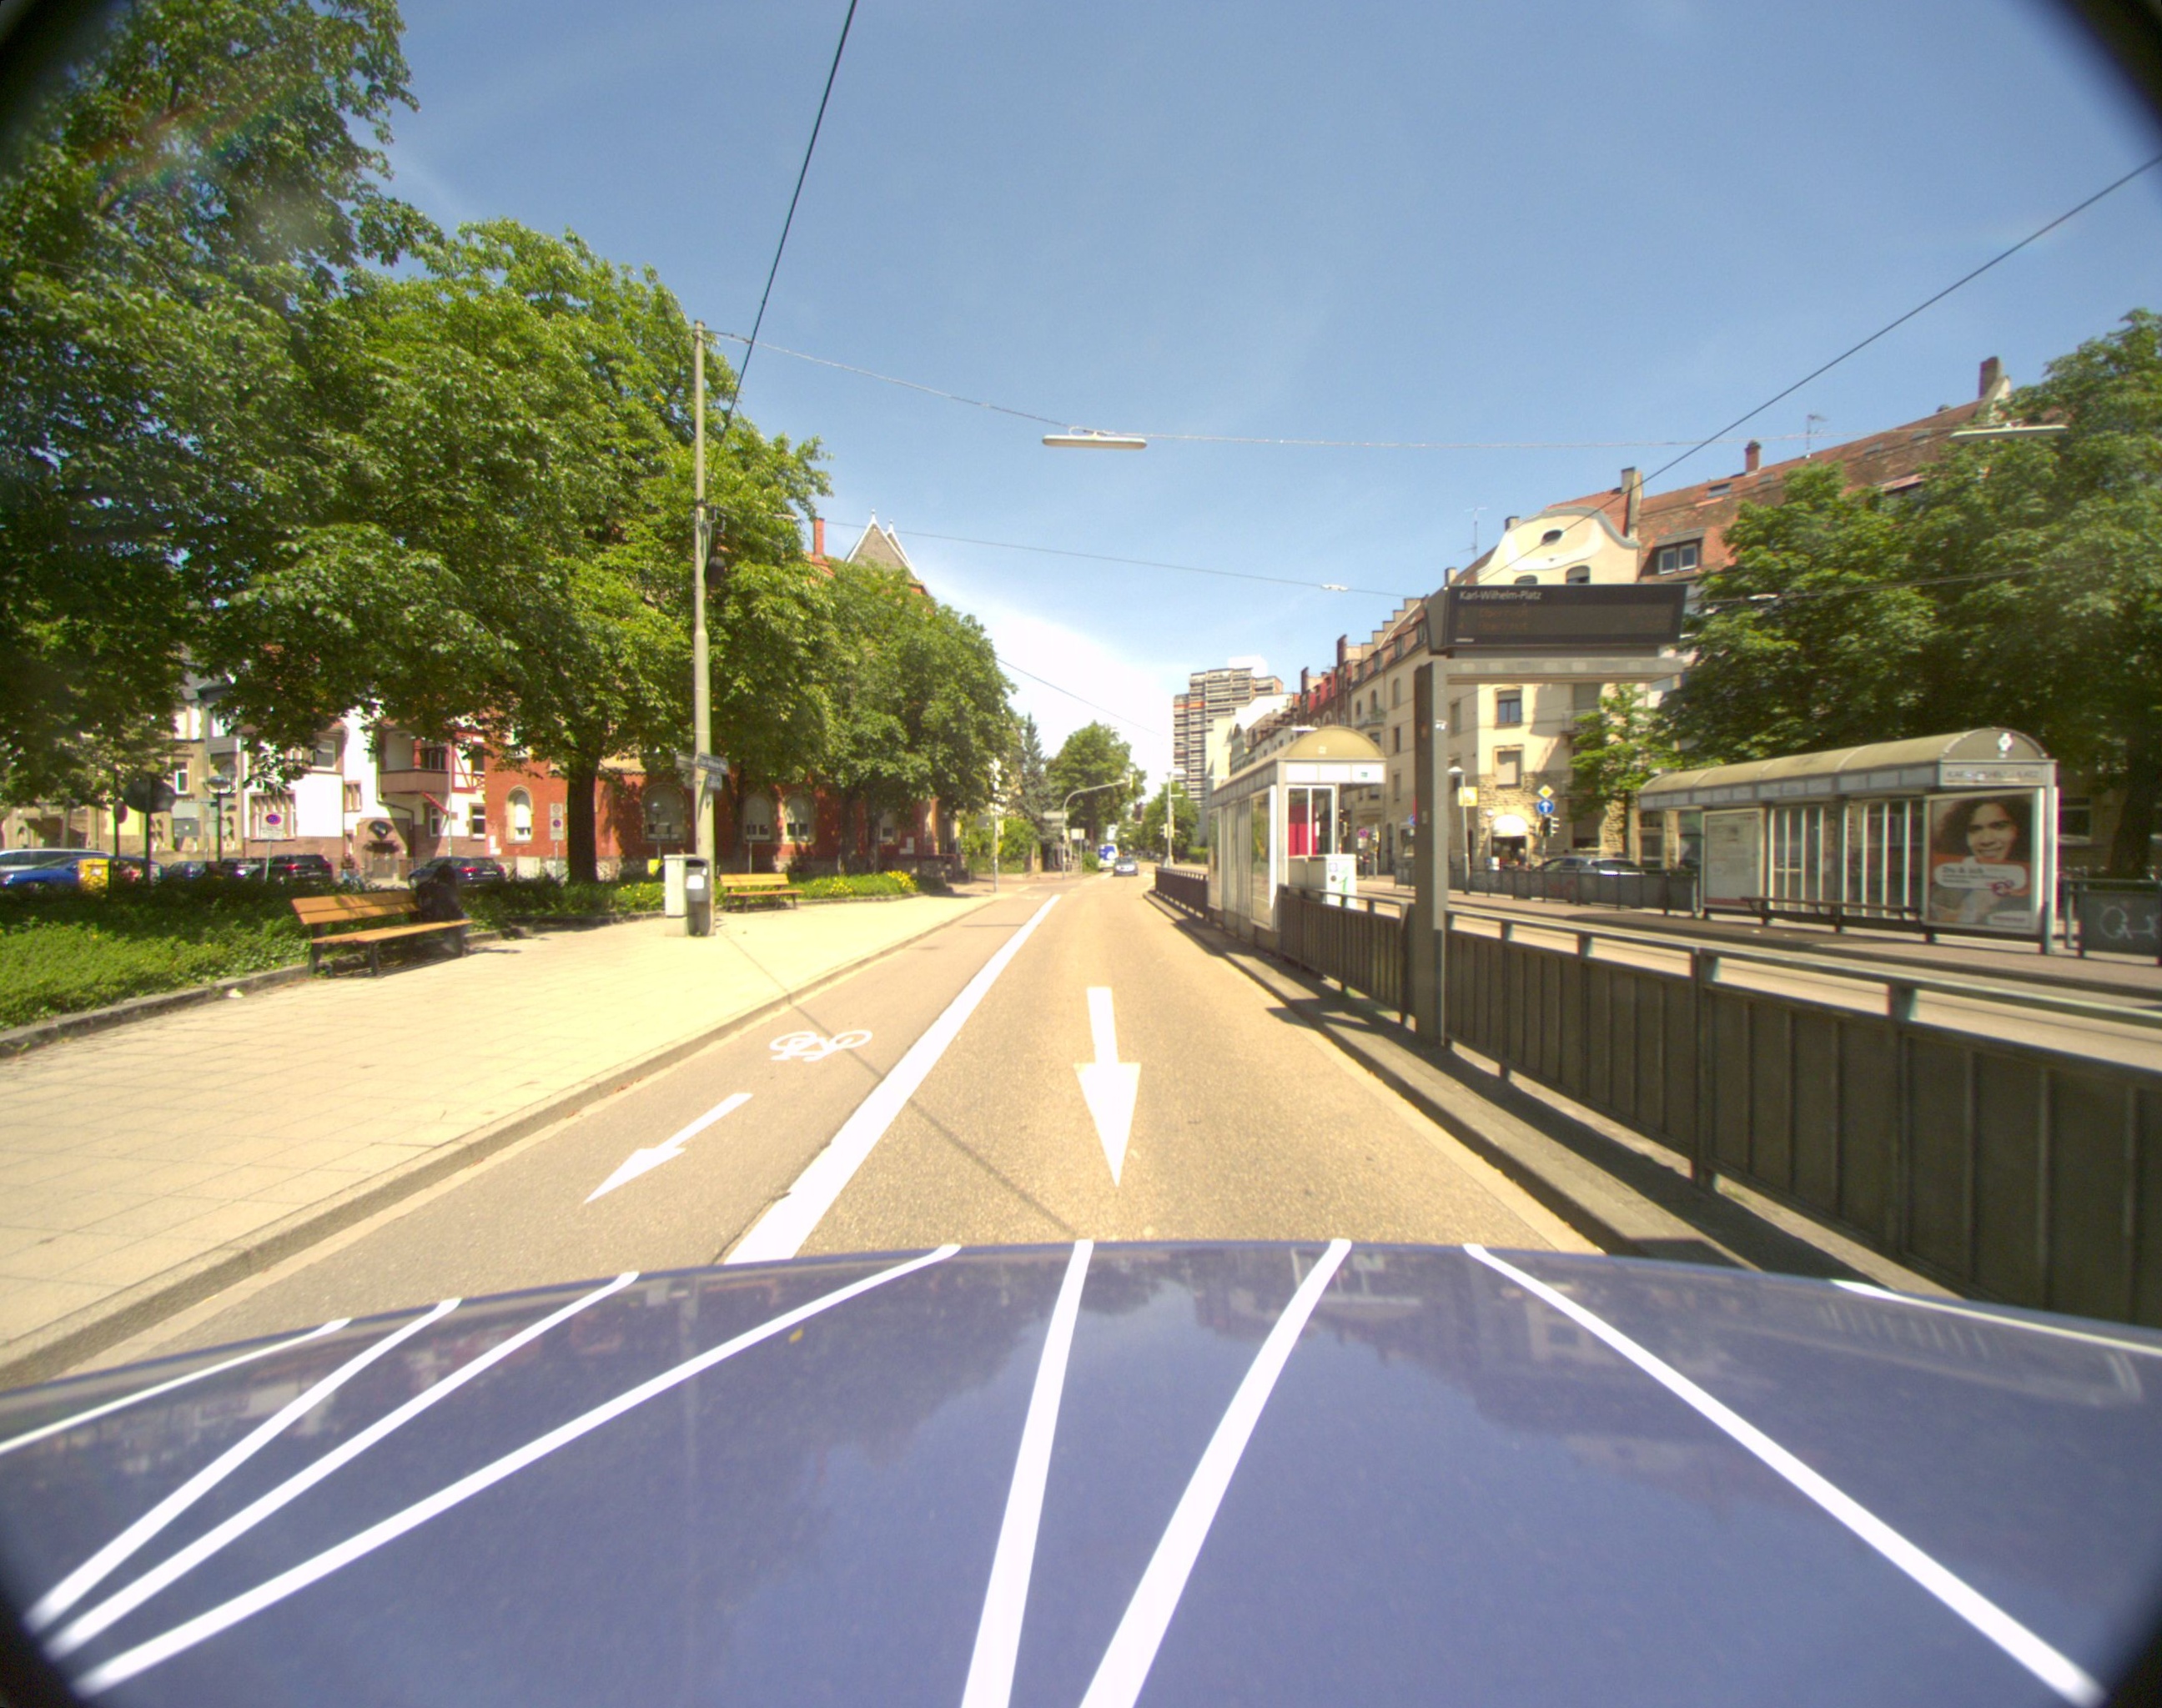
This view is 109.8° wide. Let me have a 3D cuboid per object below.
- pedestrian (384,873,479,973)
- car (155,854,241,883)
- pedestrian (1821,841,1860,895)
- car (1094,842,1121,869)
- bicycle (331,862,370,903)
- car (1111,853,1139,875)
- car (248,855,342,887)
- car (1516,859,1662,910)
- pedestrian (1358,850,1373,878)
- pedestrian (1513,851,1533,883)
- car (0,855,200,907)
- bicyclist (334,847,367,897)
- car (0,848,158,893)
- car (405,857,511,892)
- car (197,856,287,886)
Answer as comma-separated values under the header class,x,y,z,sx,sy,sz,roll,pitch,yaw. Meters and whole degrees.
class,x,y,z,sx,sy,sz,roll,pitch,yaw
pedestrian,-7.893,0.814,9.261,0.652,1.143,0.642,0,1,-15
car,-49.736,0.788,42.804,4.235,1.554,1.706,0,1,20
pedestrian,20.639,0.373,20.654,0.537,1.433,0.520,0,1,-9
car,2.493,0.065,72.596,2.237,2.478,5.265,0,1,-1
bicycle,-24.055,0.918,25.011,1.925,1.285,0.641,0,1,38
car,3.154,0.726,55.307,1.737,1.543,4.423,0,0,-1
car,-40.182,0.823,38.836,4.235,1.554,1.706,0,1,20
car,14.555,0.824,22.055,1.697,1.302,3.848,0,0,0
pedestrian,17.562,0.602,46.894,0.808,1.710,0.764,0,1,16
pedestrian,19.819,0.582,34.068,0.537,1.433,0.520,0,1,-8
car,-33.109,0.822,25.472,1.641,1.554,4.326,0,0,21
bicyclist,-24.055,0.595,25.019,0.860,1.614,0.641,0,1,38
car,-37.656,0.564,27.980,1.641,1.554,4.326,0,0,21
car,-27.565,0.866,33.620,4.309,1.444,1.647,0,1,20
car,-44.931,0.894,40.704,4.235,1.554,1.706,0,1,20
